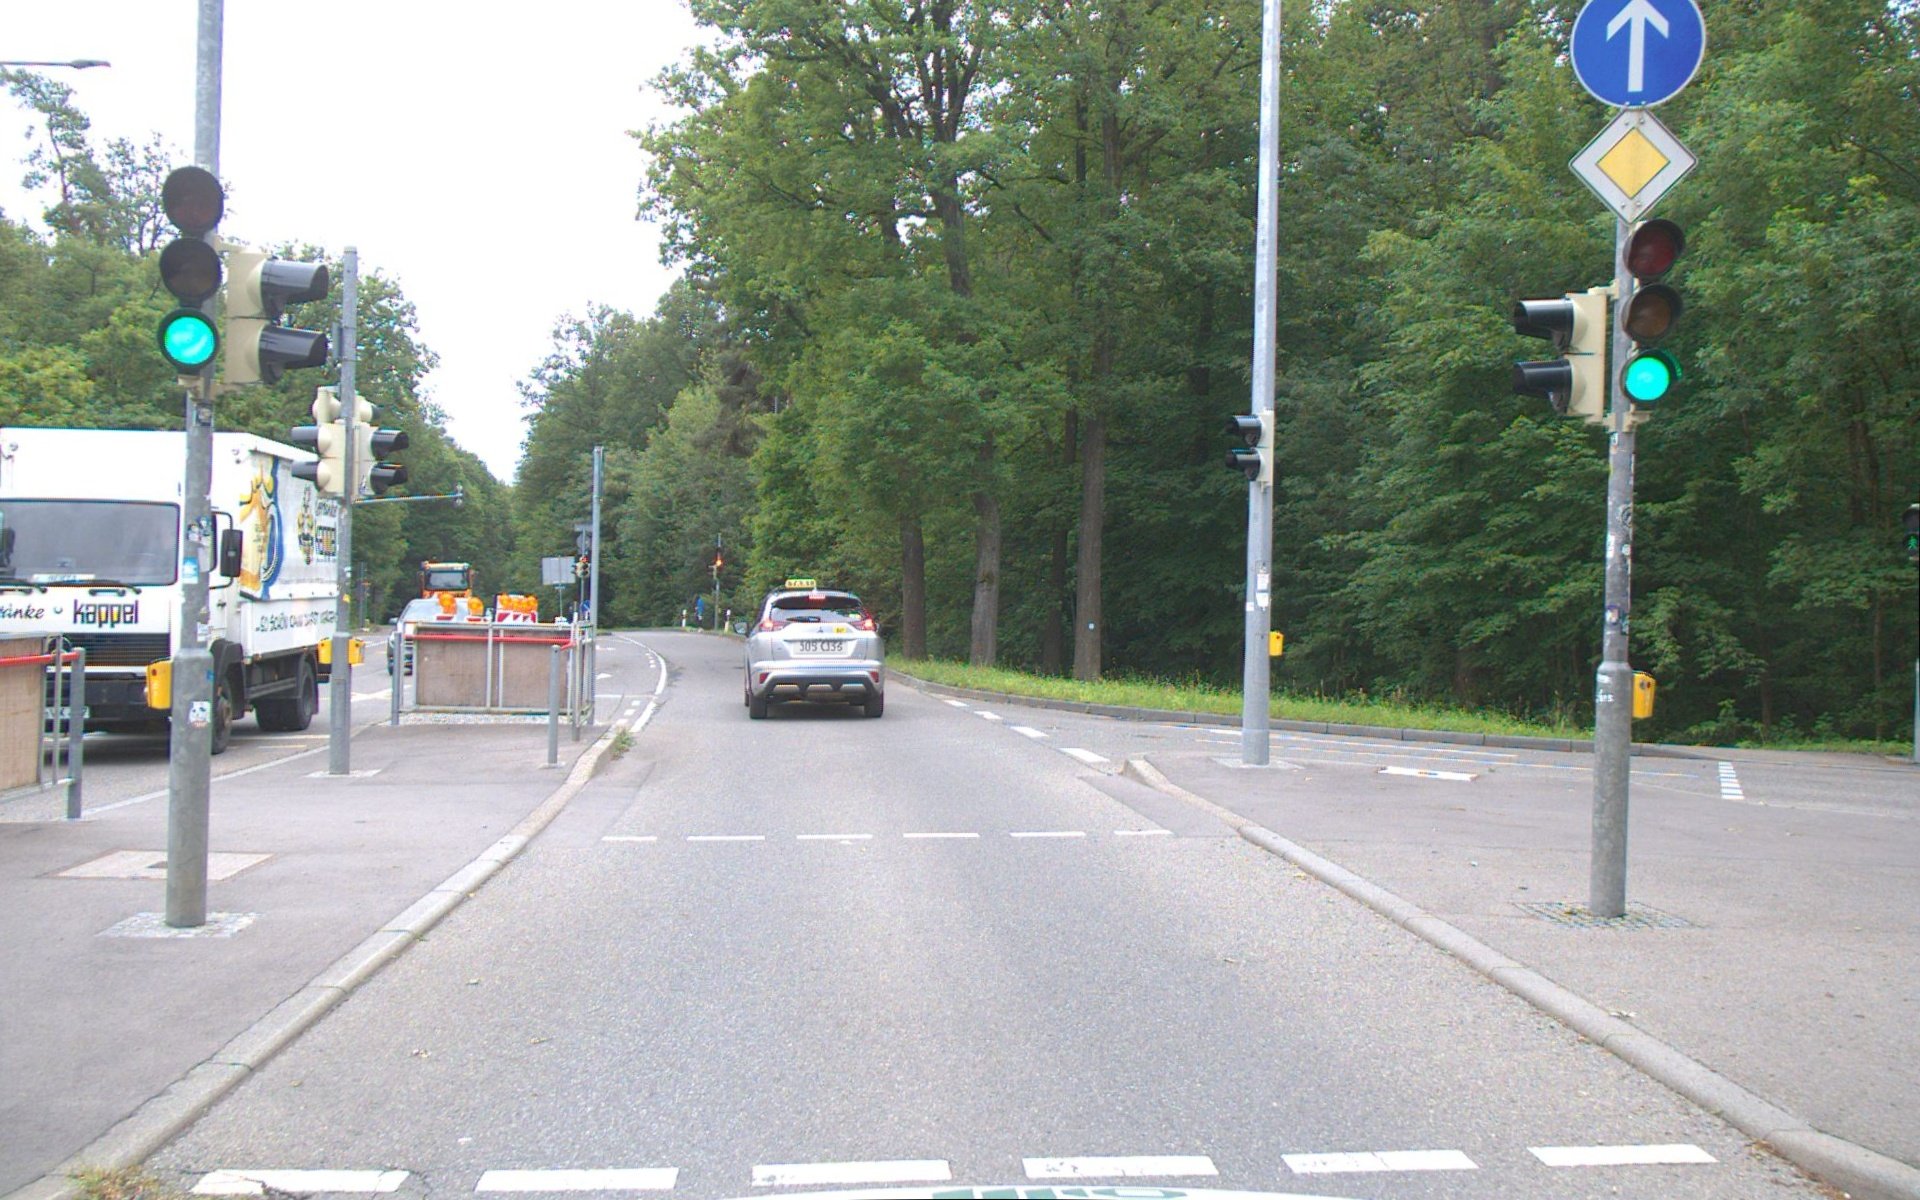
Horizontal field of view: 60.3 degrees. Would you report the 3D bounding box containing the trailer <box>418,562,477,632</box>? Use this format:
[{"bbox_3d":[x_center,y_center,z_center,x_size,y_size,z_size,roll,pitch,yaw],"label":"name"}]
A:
[{"bbox_3d":[-26.537,-0.072,85.439,2.697,3.376,8.523,-1,-1,-18],"label":"trailer"}]

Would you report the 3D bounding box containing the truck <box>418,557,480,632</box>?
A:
[{"bbox_3d":[-24.835,-0.197,80.232,2.697,3.376,7.121,-1,-1,-18],"label":"truck"}]

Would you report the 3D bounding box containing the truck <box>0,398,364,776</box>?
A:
[{"bbox_3d":[-8.406,-0.099,17.522,2.579,3.295,6.196,-1,0,-7],"label":"truck"}]

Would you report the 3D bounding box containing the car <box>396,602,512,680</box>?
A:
[{"bbox_3d":[-10.618,0.851,34.969,1.775,1.535,4.298,0,-1,-9],"label":"car"}]

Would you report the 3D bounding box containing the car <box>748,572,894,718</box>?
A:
[{"bbox_3d":[-1.830,0.557,22.695,1.810,1.811,3.998,0,0,-3],"label":"car"}]

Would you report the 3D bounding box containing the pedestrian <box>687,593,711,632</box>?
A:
[{"bbox_3d":[-11.406,0.541,72.322,1.028,1.678,1.066,0,0,-10],"label":"pedestrian"}]
